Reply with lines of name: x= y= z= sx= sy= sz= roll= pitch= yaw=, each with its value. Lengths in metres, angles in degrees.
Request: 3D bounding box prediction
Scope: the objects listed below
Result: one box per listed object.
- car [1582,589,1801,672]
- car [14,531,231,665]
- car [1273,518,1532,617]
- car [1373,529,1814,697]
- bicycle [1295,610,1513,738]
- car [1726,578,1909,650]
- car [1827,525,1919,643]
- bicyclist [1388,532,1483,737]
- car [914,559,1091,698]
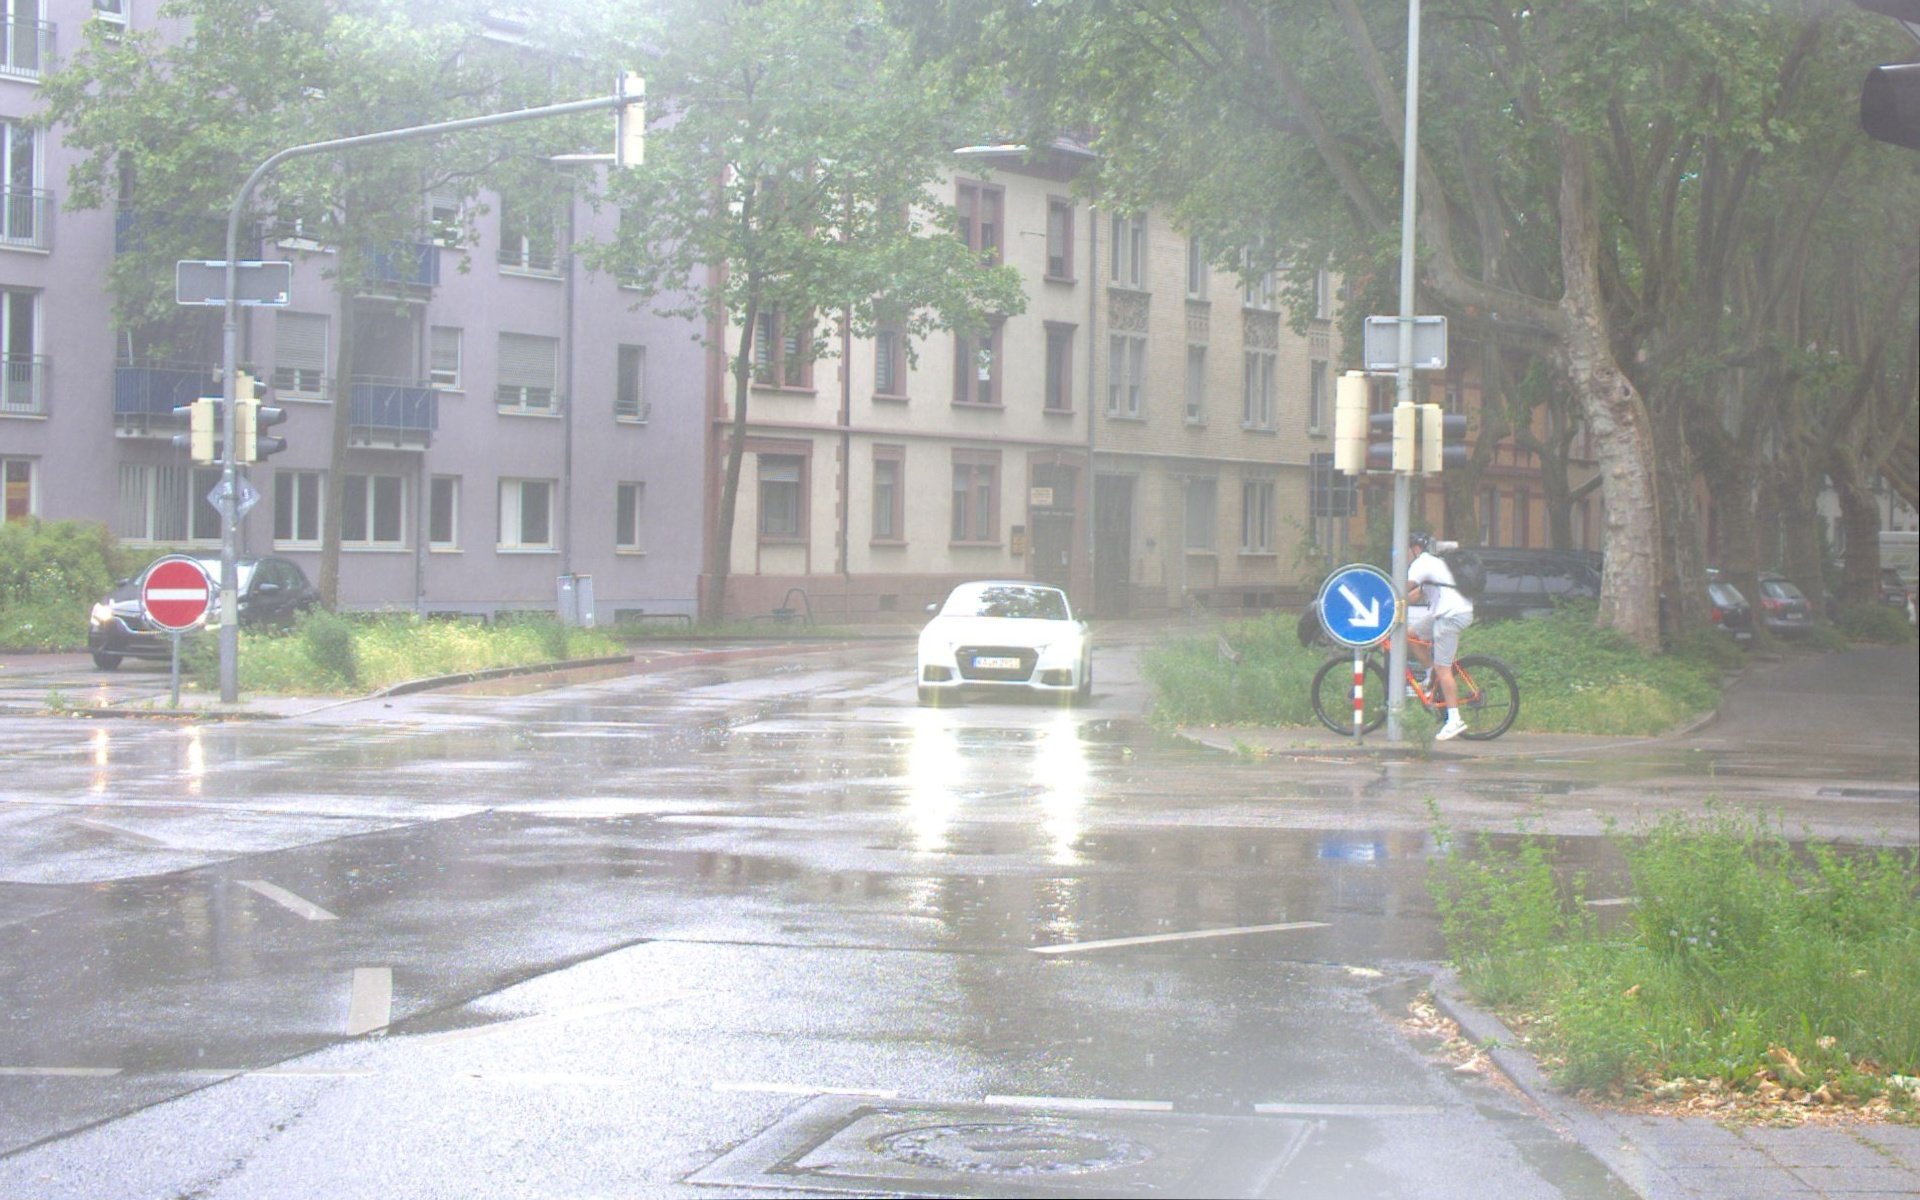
car: x=13.924 y=0.557 z=65.460 sx=3.989 sy=1.481 sz=1.999 roll=1 pitch=1 yaw=12
car: x=-10.048 y=-0.063 z=41.501 sx=1.751 sy=1.506 sz=3.839 roll=1 pitch=1 yaw=-2
car: x=6.943 y=-0.514 z=53.866 sx=3.868 sy=1.481 sz=1.715 roll=1 pitch=0 yaw=12
car: x=6.037 y=0.102 z=32.736 sx=3.989 sy=1.481 sz=1.999 roll=1 pitch=1 yaw=12
bicycle: x=3.925 y=0.646 z=30.403 sx=1.873 sy=1.077 sz=0.657 roll=1 pitch=0 yaw=8
car: x=19.573 y=0.307 z=78.657 sx=3.989 sy=1.542 sz=1.999 roll=1 pitch=1 yaw=12
car: x=24.393 y=-0.416 z=87.719 sx=2.033 sy=2.938 sz=4.773 roll=1 pitch=1 yaw=-21
bicyclist: x=4.194 y=0.299 z=30.366 sx=0.795 sy=1.780 sz=0.697 roll=1 pitch=0 yaw=8
car: x=0.513 y=0.286 z=39.110 sx=1.884 sy=1.431 sz=4.000 roll=1 pitch=1 yaw=1
